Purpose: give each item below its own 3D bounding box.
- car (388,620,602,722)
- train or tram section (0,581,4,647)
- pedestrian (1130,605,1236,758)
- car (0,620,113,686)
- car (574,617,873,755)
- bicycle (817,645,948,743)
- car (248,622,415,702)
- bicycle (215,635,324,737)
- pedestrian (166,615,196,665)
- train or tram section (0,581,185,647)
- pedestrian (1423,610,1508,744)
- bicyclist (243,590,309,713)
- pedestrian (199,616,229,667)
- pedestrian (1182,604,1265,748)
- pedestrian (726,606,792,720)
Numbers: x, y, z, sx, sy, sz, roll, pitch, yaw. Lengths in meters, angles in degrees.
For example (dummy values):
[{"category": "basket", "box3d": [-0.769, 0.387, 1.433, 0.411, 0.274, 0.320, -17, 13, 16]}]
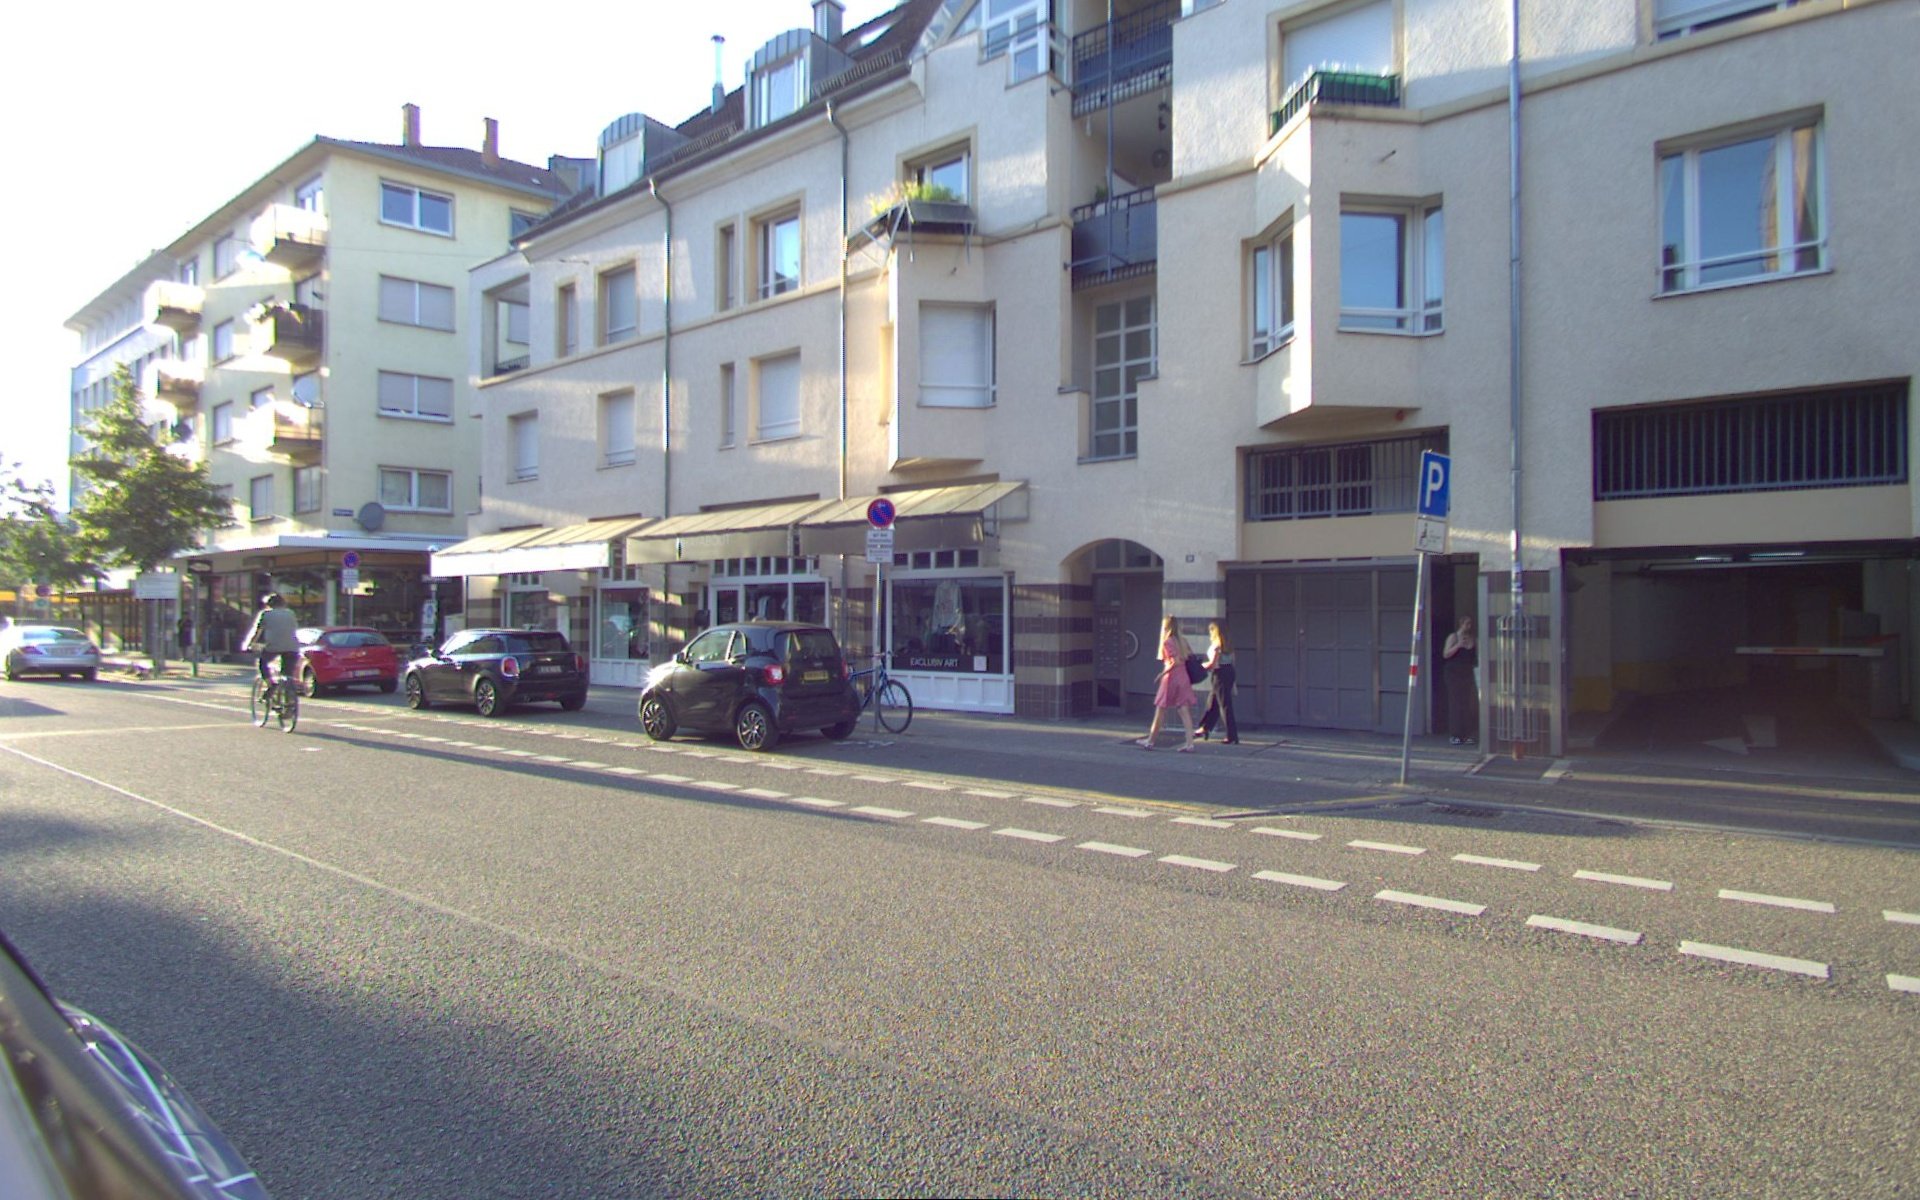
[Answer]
[{"category": "car", "box3d": [-8.135, 1.152, 17.636, 3.779, 1.592, 1.773, -1, -2, 36]}, {"category": "train or tram section", "box3d": [-58.099, 0.852, 53.366, 3.110, 3.839, 11.815, -1, 0, 8]}, {"category": "pedestrian", "box3d": [2.618, 0.926, 11.896, 1.039, 1.713, 0.624, -1, -2, 38]}, {"category": "car", "box3d": [-24.567, 1.381, 27.056, 4.397, 1.617, 1.975, -1, -3, 37]}, {"category": "car", "box3d": [-3.245, 1.041, 13.643, 3.958, 1.592, 1.773, -1, -2, 36]}, {"category": "bicycle", "box3d": [-1.086, 1.238, 13.818, 1.976, 1.215, 0.552, -1, -2, 41]}, {"category": "car", "box3d": [-13.600, 1.270, 21.851, 3.779, 1.592, 1.773, -1, -2, 36]}, {"category": "bicycle", "box3d": [-9.329, 1.119, 13.638, 2.129, 1.252, 0.656, -1, -4, 41]}, {"category": "pedestrian", "box3d": [-28.688, 1.458, 37.265, 0.666, 1.805, 0.711, -1, -1, 39]}, {"category": "train or tram section", "box3d": [-56.493, 0.838, 65.046, 3.110, 3.839, 11.815, -1, 0, 8]}, {"category": "pedestrian", "box3d": [6.164, 0.917, 12.344, 0.765, 1.584, 0.535, 1, -2, -21]}, {"category": "bicyclist", "box3d": [-9.188, 0.675, 13.588, 0.802, 1.593, 0.541, -1, -2, 41]}, {"category": "pedestrian", "box3d": [-26.809, 1.487, 36.359, 0.666, 1.805, 0.711, -1, -1, 39]}, {"category": "pedestrian", "box3d": [3.260, 0.917, 12.511, 0.830, 1.713, 0.554, -1, -2, 37]}, {"category": "pedestrian", "box3d": [-3.168, 0.970, 15.956, 0.737, 1.747, 0.711, -1, -1, 38]}]
